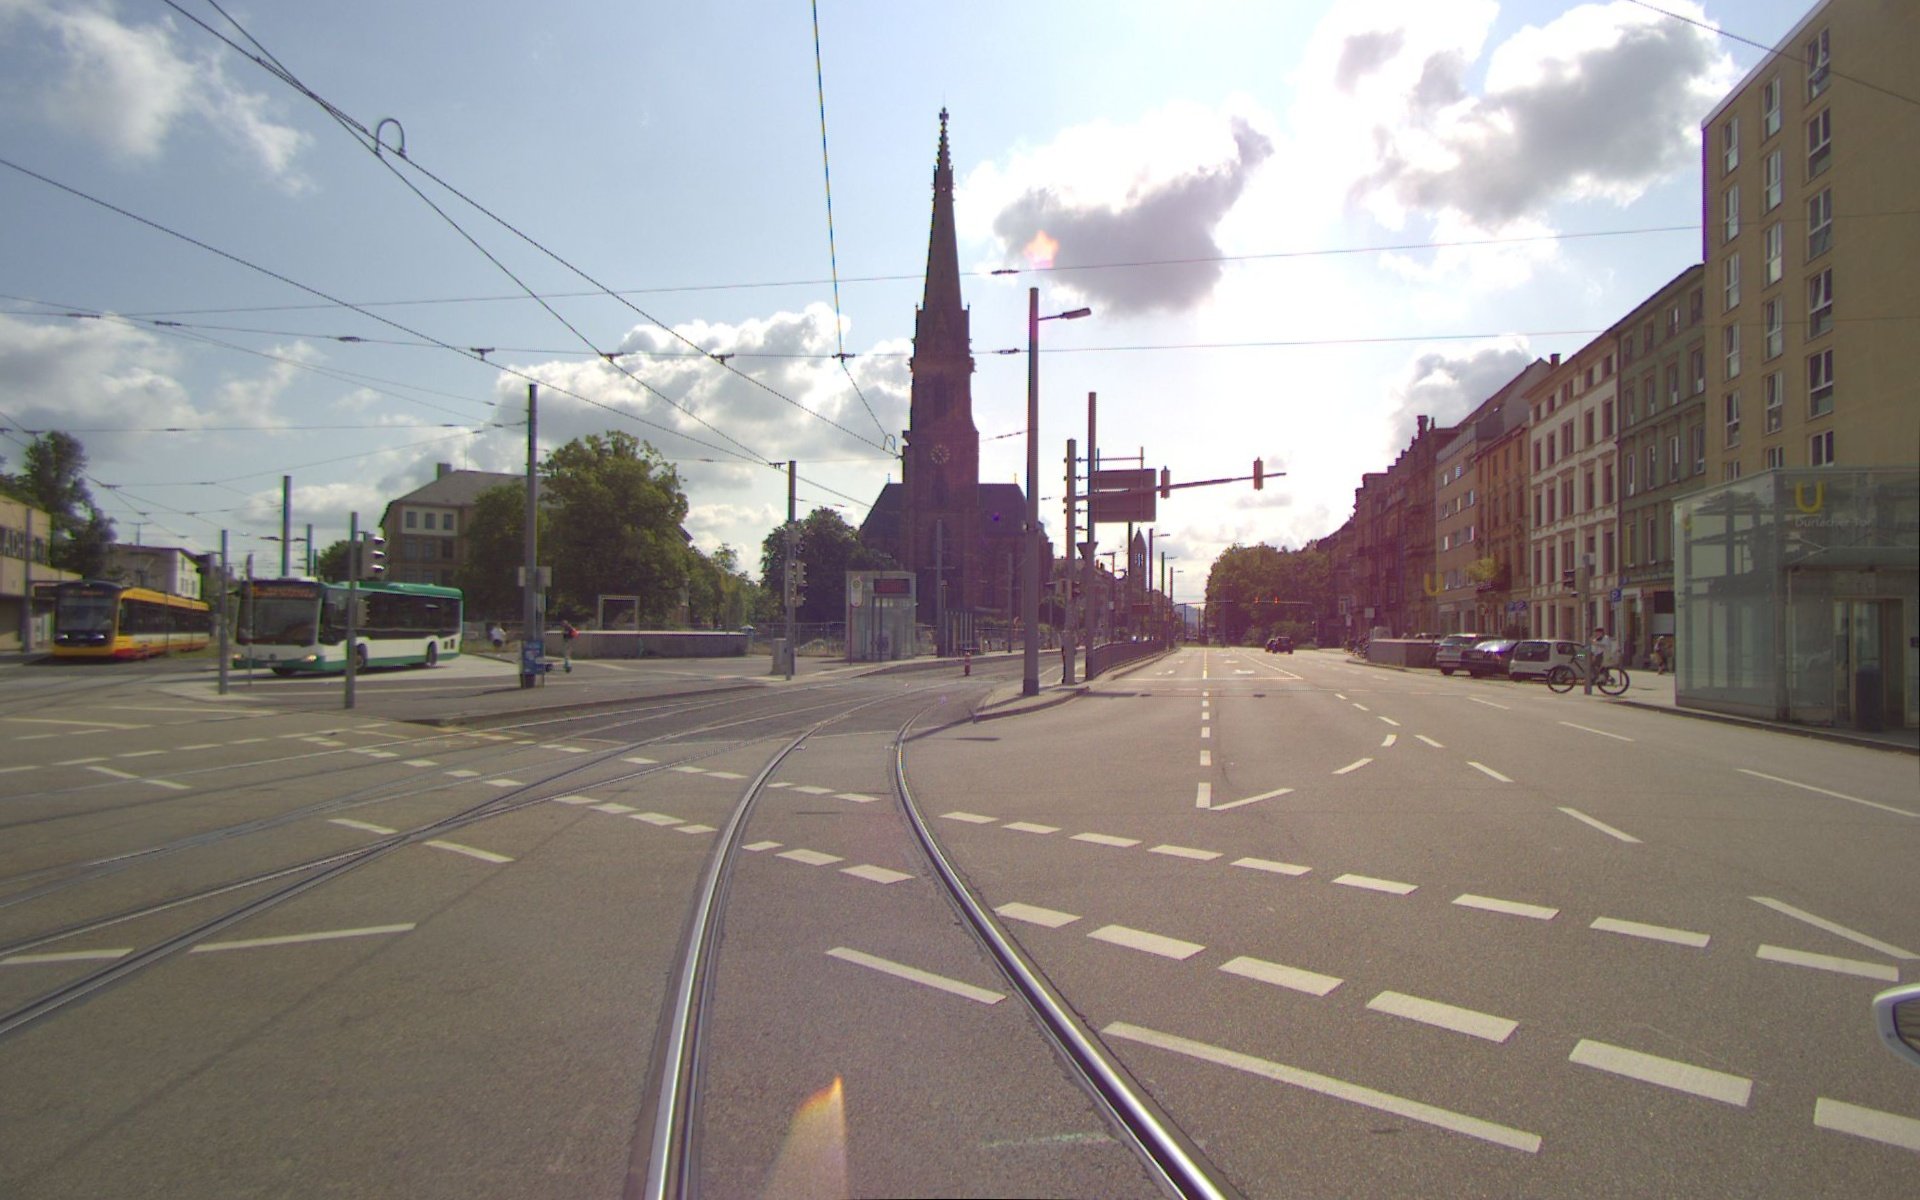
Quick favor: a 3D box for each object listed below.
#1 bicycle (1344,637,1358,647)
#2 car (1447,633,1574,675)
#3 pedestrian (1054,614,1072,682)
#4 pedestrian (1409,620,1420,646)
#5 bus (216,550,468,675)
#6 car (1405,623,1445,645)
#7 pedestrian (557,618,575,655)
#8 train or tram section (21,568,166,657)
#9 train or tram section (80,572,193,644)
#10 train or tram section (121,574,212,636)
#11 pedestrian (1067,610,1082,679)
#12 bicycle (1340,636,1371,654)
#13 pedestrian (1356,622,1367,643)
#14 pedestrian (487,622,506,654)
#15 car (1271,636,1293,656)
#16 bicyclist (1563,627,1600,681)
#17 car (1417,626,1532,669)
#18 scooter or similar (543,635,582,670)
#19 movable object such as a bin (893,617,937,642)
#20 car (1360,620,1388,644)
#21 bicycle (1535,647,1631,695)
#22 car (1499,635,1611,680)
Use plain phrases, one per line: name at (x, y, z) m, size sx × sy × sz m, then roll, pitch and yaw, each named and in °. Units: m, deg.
bicycle at (51.797, 5.605, 133.122) m, size 1.716 × 1.285 × 0.466 m, roll 0°, pitch 1°, yaw 18°
car at (20.564, 2.013, 37.515) m, size 4.539 × 1.479 × 1.926 m, roll 2°, pitch -1°, yaw -26°
pedestrian at (3.141, 1.449, 30.639) m, size 0.493 × 2.040 × 0.516 m, roll 0°, pitch -1°, yaw 2°
pedestrian at (37.840, 2.752, 83.607) m, size 0.709 × 2.127 × 0.786 m, roll 0°, pitch 1°, yaw 14°
bus at (-21.324, 0.547, 35.961) m, size 2.862 × 3.668 × 12.363 m, roll 0°, pitch -2°, yaw -8°
car at (40.821, 3.009, 88.253) m, size 1.959 × 1.886 × 4.757 m, roll 0°, pitch -2°, yaw 8°
pedestrian at (-19.545, 1.819, 49.878) m, size 0.713 × 1.818 × 0.557 m, roll 1°, pitch -1°, yaw -34°
train or tram section at (-38.709, 0.437, 45.344) m, size 3.287 × 3.527 × 10.515 m, roll -1°, pitch 1°, yaw -32°
train or tram section at (-44.184, 0.324, 54.267) m, size 3.287 × 3.527 × 10.515 m, roll -1°, pitch 1°, yaw -32°
train or tram section at (-49.732, 0.237, 63.257) m, size 3.287 × 3.527 × 10.515 m, roll -1°, pitch 1°, yaw -32°
pedestrian at (3.421, 1.318, 29.984) m, size 0.418 × 2.040 × 0.578 m, roll 0°, pitch -1°, yaw 2°
bicycle at (26.803, 3.046, 68.128) m, size 1.892 × 1.254 × 0.441 m, roll 0°, pitch 1°, yaw 1°
pedestrian at (37.801, 3.036, 94.575) m, size 0.652 × 1.928 × 0.694 m, roll 0°, pitch -1°, yaw -4°
pedestrian at (-25.143, 2.042, 54.504) m, size 0.774 × 1.694 × 0.713 m, roll 1°, pitch -1°, yaw -37°
car at (31.927, 4.571, 99.619) m, size 1.660 × 1.734 × 3.610 m, roll 0°, pitch 1°, yaw 12°
bicyclist at (16.287, 1.404, 26.310) m, size 0.772 × 1.354 × 0.393 m, roll 1°, pitch 1°, yaw 40°
car at (21.149, 1.926, 41.277) m, size 4.540 × 1.669 × 2.046 m, roll 1°, pitch -2°, yaw -29°
scooter or similar at (-13.559, 1.782, 34.322) m, size 0.796 × 1.182 × 1.169 m, roll 0°, pitch -1°, yaw 4°
movable object such as a bin at (-5.474, 3.591, 121.589) m, size 5.050 × 2.950 × 2.001 m, roll 0°, pitch -1°, yaw 7°
car at (45.384, 3.456, 110.212) m, size 1.960 × 2.559 × 5.892 m, roll 0°, pitch -1°, yaw 14°
bicycle at (16.299, 1.846, 26.313) m, size 2.069 × 1.121 × 0.541 m, roll 1°, pitch 1°, yaw 41°
car at (20.515, 1.971, 34.641) m, size 3.451 × 1.472 × 1.767 m, roll 2°, pitch -2°, yaw -27°
